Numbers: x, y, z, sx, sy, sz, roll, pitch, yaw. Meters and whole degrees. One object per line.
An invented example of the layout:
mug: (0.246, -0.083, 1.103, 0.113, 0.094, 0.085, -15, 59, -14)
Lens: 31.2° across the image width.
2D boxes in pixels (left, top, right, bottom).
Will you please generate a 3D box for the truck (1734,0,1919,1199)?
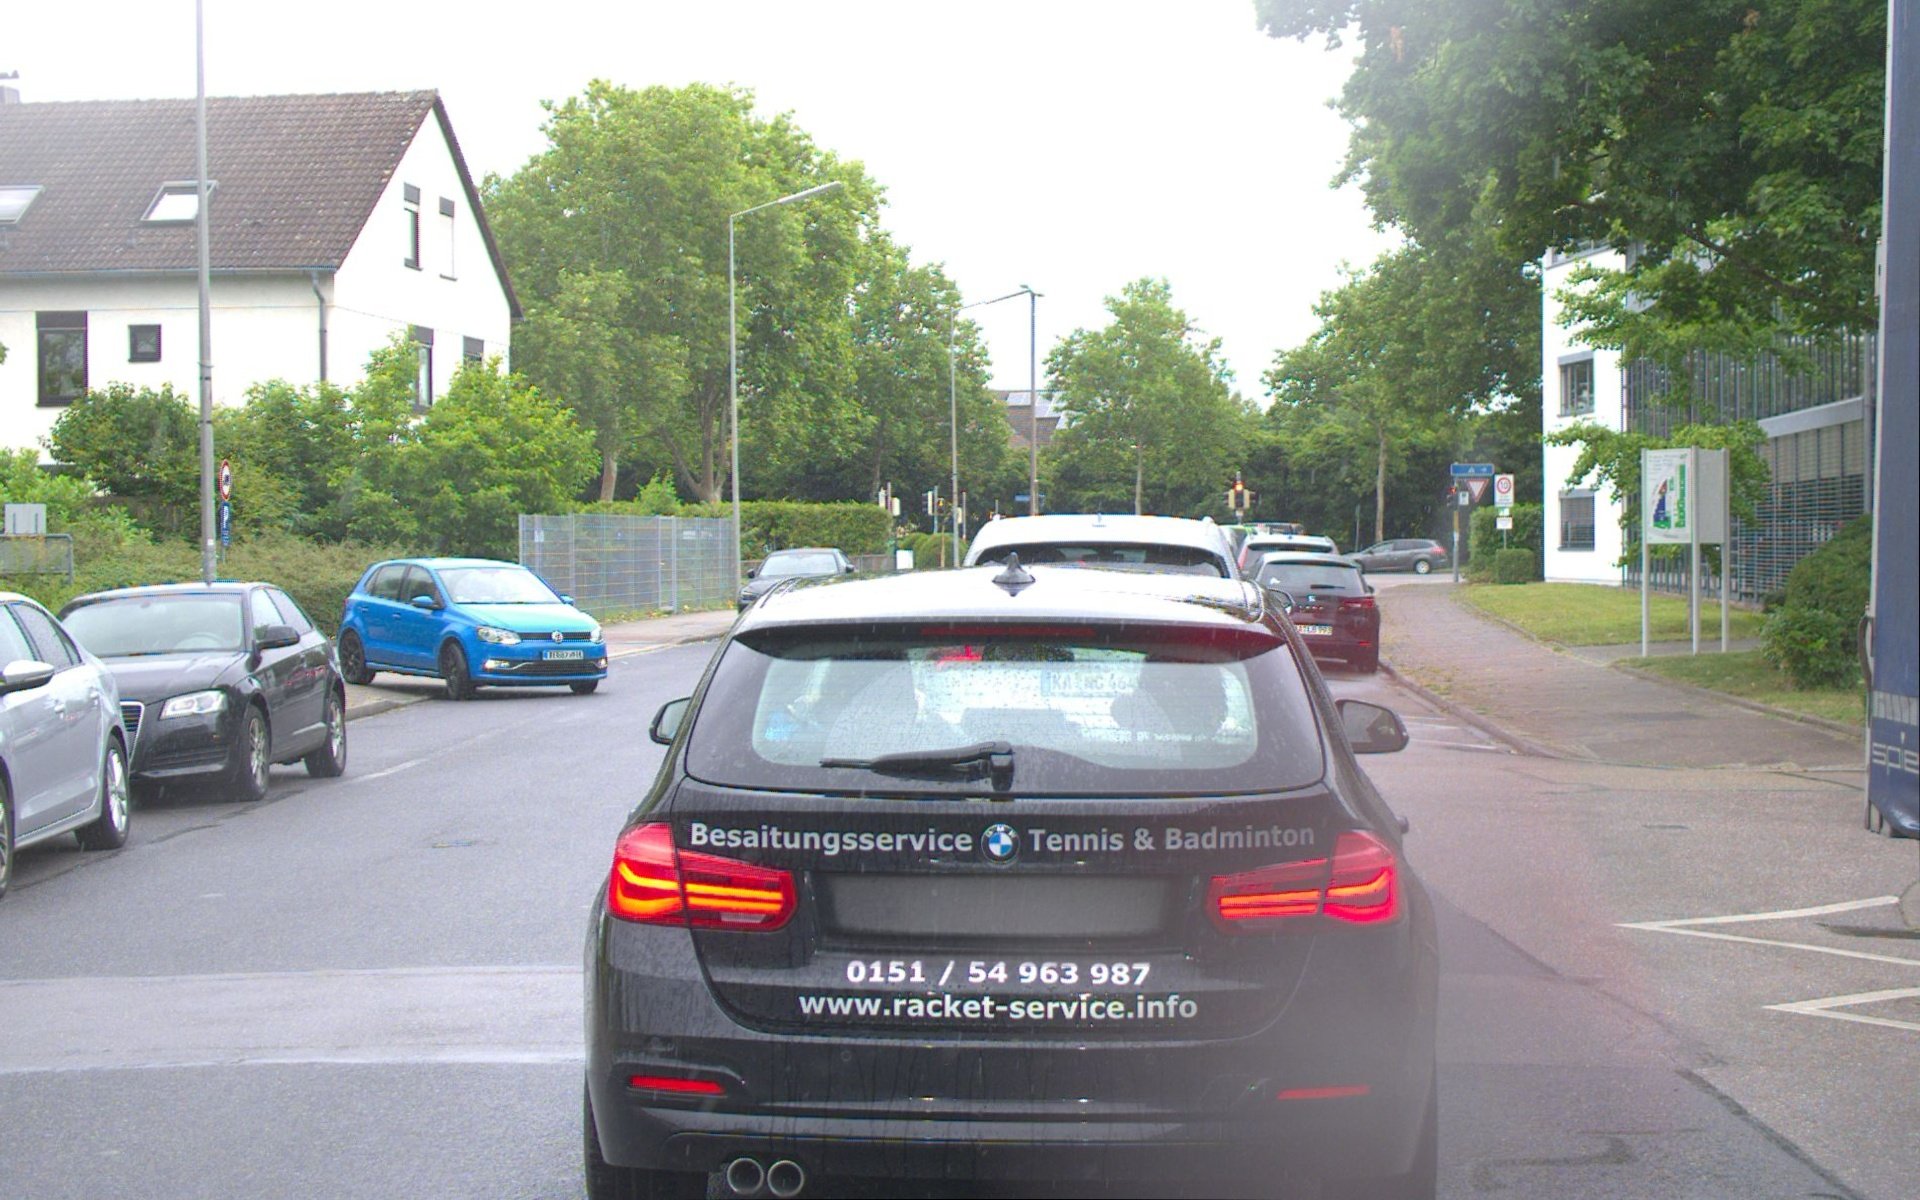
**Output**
truck: (3.053, -0.408, 3.097, 2.741, 3.598, 7.750, 2, 1, -1)

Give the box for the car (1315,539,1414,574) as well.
car: (15.941, -1.721, 135.536, 3.826, 1.362, 1.711, 0, 2, 8)

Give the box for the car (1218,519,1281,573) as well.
car: (8.603, -1.617, 102.299, 1.804, 1.581, 4.000, 0, 1, 4)

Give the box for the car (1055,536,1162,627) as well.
car: (2.717, -0.349, 62.229, 1.804, 1.581, 3.999, 0, 1, 4)

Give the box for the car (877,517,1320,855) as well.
car: (0.607, 0.384, 18.158, 1.804, 1.581, 4.001, 0, 1, -5)

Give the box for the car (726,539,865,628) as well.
car: (-2.799, -0.305, 59.250, 1.706, 1.362, 3.837, -3, 1, 7)

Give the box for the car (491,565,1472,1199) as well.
car: (0.023, 0.618, 8.345, 1.804, 1.390, 4.000, 0, 1, 0)

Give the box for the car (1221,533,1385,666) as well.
car: (4.276, -0.028, 43.361, 1.804, 1.581, 4.000, 0, 1, 2)

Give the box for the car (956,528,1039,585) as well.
car: (1.010, -1.168, 91.119, 1.706, 1.362, 3.837, -3, 1, 7)

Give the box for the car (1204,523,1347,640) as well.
car: (4.438, -0.277, 48.873, 1.804, 1.581, 4.000, 0, 1, 2)

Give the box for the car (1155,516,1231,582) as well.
car: (5.734, -1.263, 84.344, 1.804, 1.581, 4.000, 0, 1, 4)

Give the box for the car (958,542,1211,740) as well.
car: (0.999, 0.307, 29.596, 1.804, 1.581, 4.001, 0, 1, -3)

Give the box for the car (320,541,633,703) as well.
car: (-5.263, 0.232, 37.075, 1.706, 1.589, 3.837, -4, 2, -35)

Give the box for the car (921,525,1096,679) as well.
car: (0.577, 0.001, 37.564, 1.804, 1.581, 4.000, 0, 1, 2)

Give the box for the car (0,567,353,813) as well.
car: (-5.202, 0.529, 22.543, 1.705, 1.362, 3.838, -3, 1, 0)

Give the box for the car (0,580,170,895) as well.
car: (-5.261, 0.658, 16.993, 1.705, 1.362, 4.602, -3, 1, -2)
